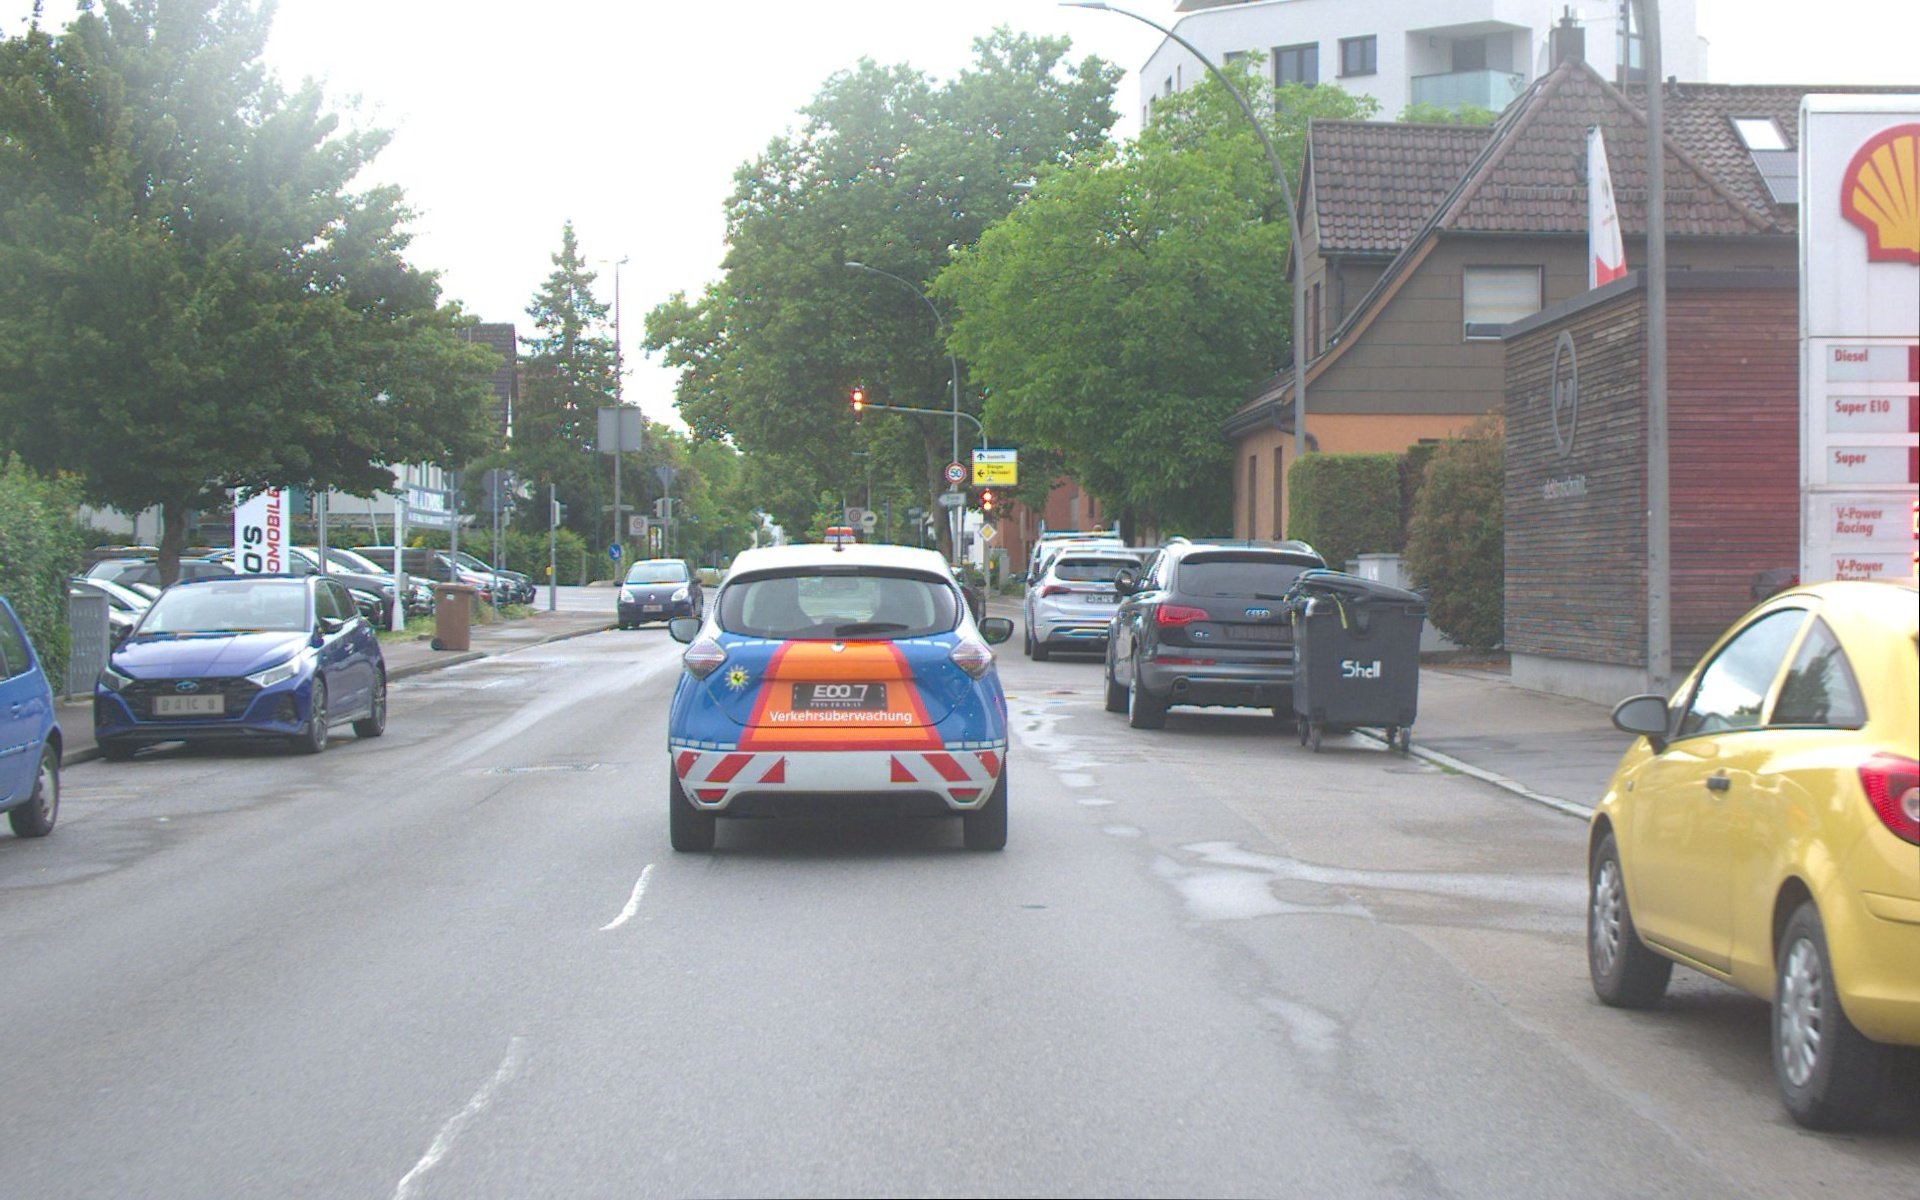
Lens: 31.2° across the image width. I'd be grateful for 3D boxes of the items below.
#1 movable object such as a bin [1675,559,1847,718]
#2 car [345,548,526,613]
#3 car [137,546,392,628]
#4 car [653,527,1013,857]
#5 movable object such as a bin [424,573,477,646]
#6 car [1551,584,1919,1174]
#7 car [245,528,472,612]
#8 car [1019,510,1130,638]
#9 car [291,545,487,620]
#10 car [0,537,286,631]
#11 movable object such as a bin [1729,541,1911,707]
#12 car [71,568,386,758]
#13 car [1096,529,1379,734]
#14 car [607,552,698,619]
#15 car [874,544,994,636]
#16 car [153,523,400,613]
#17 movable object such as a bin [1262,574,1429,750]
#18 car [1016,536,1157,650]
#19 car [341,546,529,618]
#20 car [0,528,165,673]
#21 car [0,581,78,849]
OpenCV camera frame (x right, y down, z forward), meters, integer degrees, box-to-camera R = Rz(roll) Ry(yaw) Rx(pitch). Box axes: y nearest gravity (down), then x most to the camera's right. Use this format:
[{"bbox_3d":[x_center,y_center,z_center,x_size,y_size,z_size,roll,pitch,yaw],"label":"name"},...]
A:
[{"bbox_3d":[6.938,0.316,29.846,1.101,1.335,1.385,0,1,-3],"label":"movable object such as a bin"},{"bbox_3d":[-12.511,-0.478,82.184,3.987,1.436,1.803,1,1,1],"label":"car"},{"bbox_3d":[-12.848,-0.256,63.691,4.347,1.459,1.941,0,1,0],"label":"car"},{"bbox_3d":[-0.663,0.407,18.752,1.745,1.575,4.001,0,1,-1],"label":"car"},{"bbox_3d":[-7.988,0.140,53.925,0.708,1.126,0.735,1,1,-1],"label":"movable object such as a bin"},{"bbox_3d":[2.993,0.680,10.344,1.656,1.397,3.802,0,1,-2],"label":"car"},{"bbox_3d":[-12.367,-0.623,70.863,4.347,1.684,1.959,0,1,0],"label":"car"},{"bbox_3d":[1.934,-0.490,58.890,1.778,2.022,4.754,2,2,1],"label":"car"},{"bbox_3d":[-12.601,-0.390,76.023,3.987,1.538,1.803,1,1,1],"label":"car"},{"bbox_3d":[-12.389,-0.247,51.146,4.376,1.369,1.889,0,1,-1],"label":"car"},{"bbox_3d":[7.117,0.183,28.522,1.101,1.335,1.385,0,1,-3],"label":"movable object such as a bin"},{"bbox_3d":[-5.965,0.466,28.477,1.806,1.398,3.945,-1,1,-1],"label":"car"},{"bbox_3d":[2.473,0.228,31.798,2.091,1.656,4.560,1,2,-1],"label":"car"},{"bbox_3d":[-6.663,-0.336,74.826,1.626,1.428,3.684,0,1,1],"label":"car"},{"bbox_3d":[-0.520,-0.222,65.036,1.993,1.568,4.001,1,2,-4],"label":"car"},{"bbox_3d":[-13.120,-0.624,66.215,4.347,1.685,2.059,0,1,0],"label":"car"},{"bbox_3d":[3.148,0.489,28.219,1.126,1.383,1.504,0,1,-3],"label":"movable object such as a bin"},{"bbox_3d":[1.894,-0.139,52.773,1.865,1.659,4.320,1,1,-2],"label":"car"},{"bbox_3d":[-12.045,-0.419,79.006,3.987,1.538,1.803,1,1,1],"label":"car"},{"bbox_3d":[-12.422,-0.009,43.097,4.556,1.784,1.898,0,1,-5],"label":"car"},{"bbox_3d":[-5.885,0.639,18.185,1.545,1.398,3.597,-1,1,-1],"label":"car"}]
